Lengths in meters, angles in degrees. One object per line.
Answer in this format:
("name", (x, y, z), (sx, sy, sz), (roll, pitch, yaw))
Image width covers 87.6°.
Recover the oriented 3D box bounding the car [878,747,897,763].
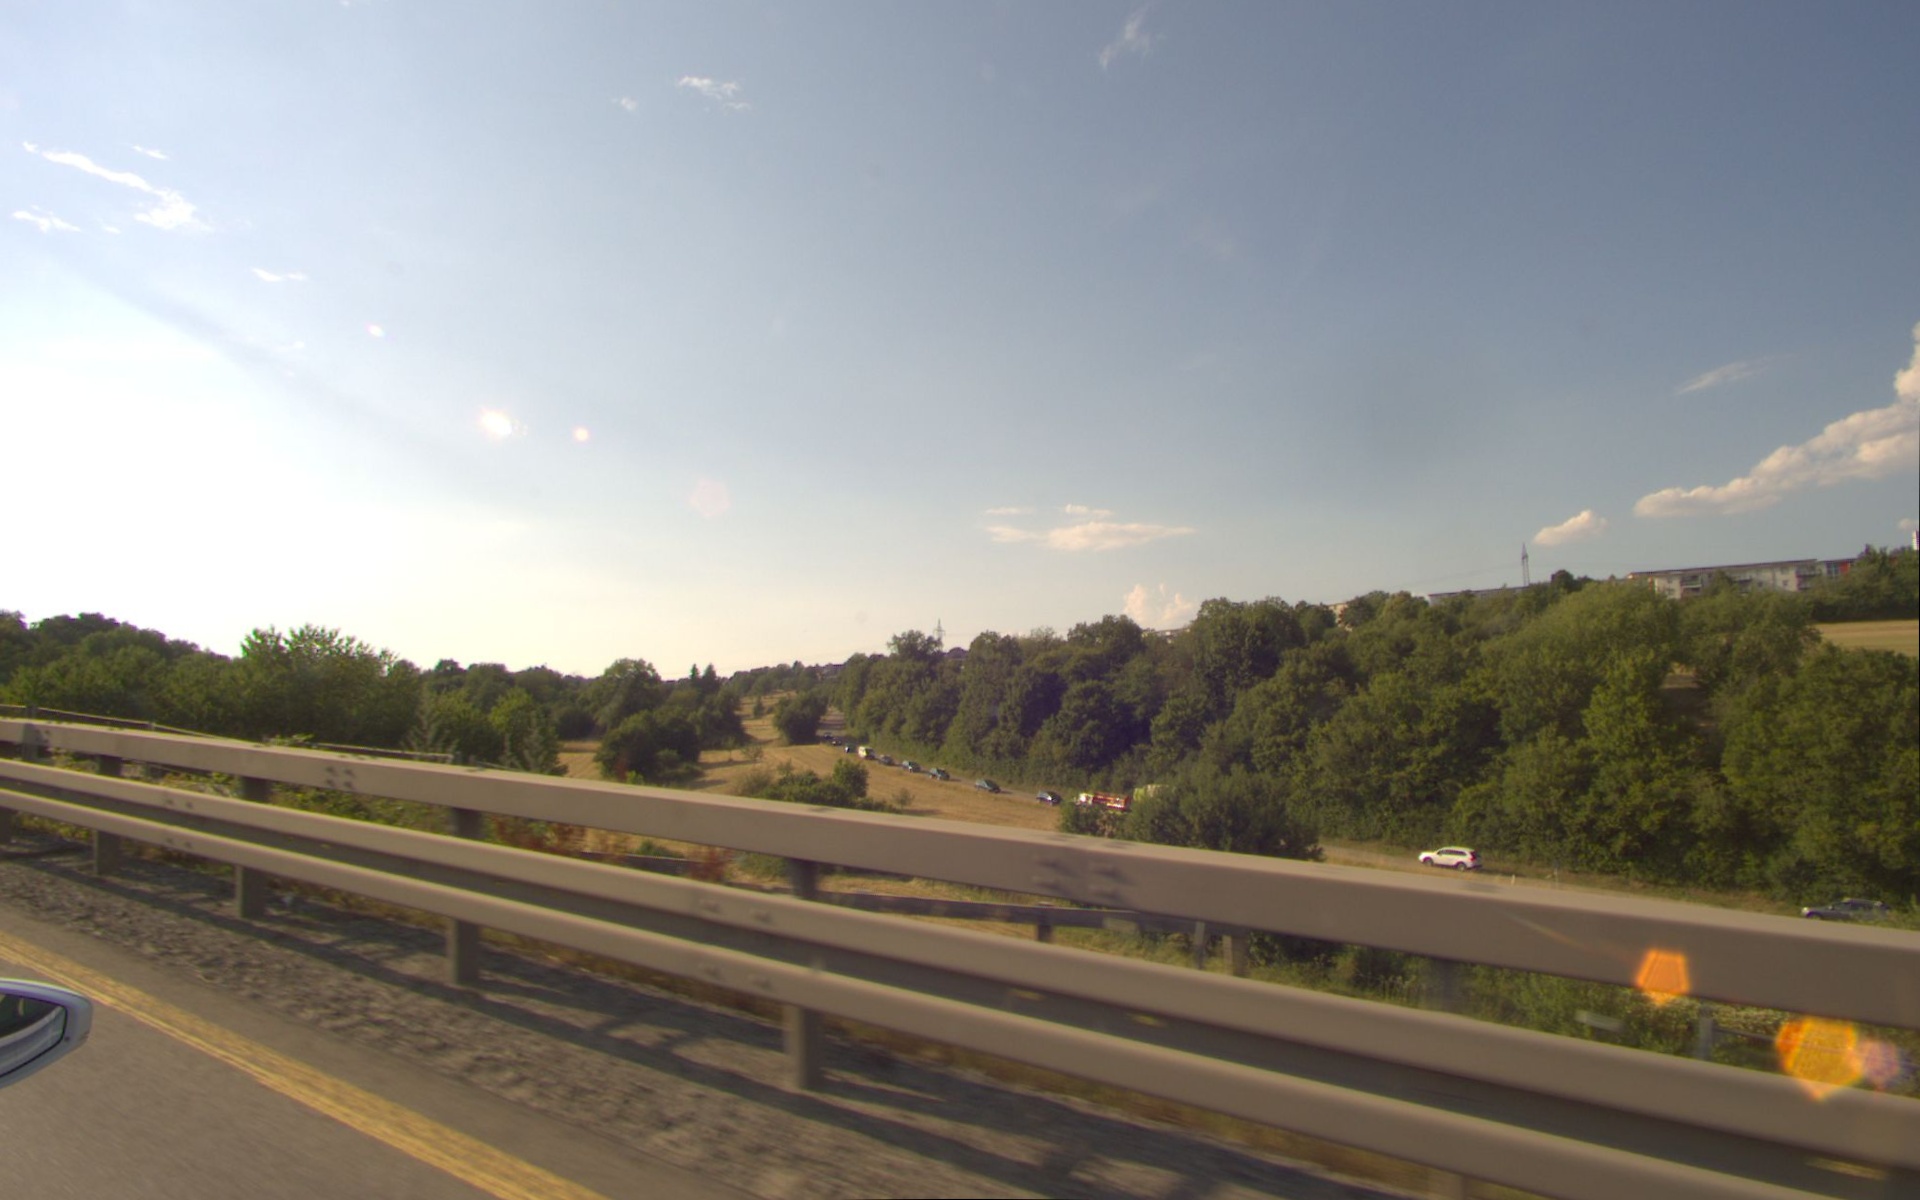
("car", (-11.793, 25.326, 163.558), (1.852, 2.039, 3.988), (0, -2, -24))
